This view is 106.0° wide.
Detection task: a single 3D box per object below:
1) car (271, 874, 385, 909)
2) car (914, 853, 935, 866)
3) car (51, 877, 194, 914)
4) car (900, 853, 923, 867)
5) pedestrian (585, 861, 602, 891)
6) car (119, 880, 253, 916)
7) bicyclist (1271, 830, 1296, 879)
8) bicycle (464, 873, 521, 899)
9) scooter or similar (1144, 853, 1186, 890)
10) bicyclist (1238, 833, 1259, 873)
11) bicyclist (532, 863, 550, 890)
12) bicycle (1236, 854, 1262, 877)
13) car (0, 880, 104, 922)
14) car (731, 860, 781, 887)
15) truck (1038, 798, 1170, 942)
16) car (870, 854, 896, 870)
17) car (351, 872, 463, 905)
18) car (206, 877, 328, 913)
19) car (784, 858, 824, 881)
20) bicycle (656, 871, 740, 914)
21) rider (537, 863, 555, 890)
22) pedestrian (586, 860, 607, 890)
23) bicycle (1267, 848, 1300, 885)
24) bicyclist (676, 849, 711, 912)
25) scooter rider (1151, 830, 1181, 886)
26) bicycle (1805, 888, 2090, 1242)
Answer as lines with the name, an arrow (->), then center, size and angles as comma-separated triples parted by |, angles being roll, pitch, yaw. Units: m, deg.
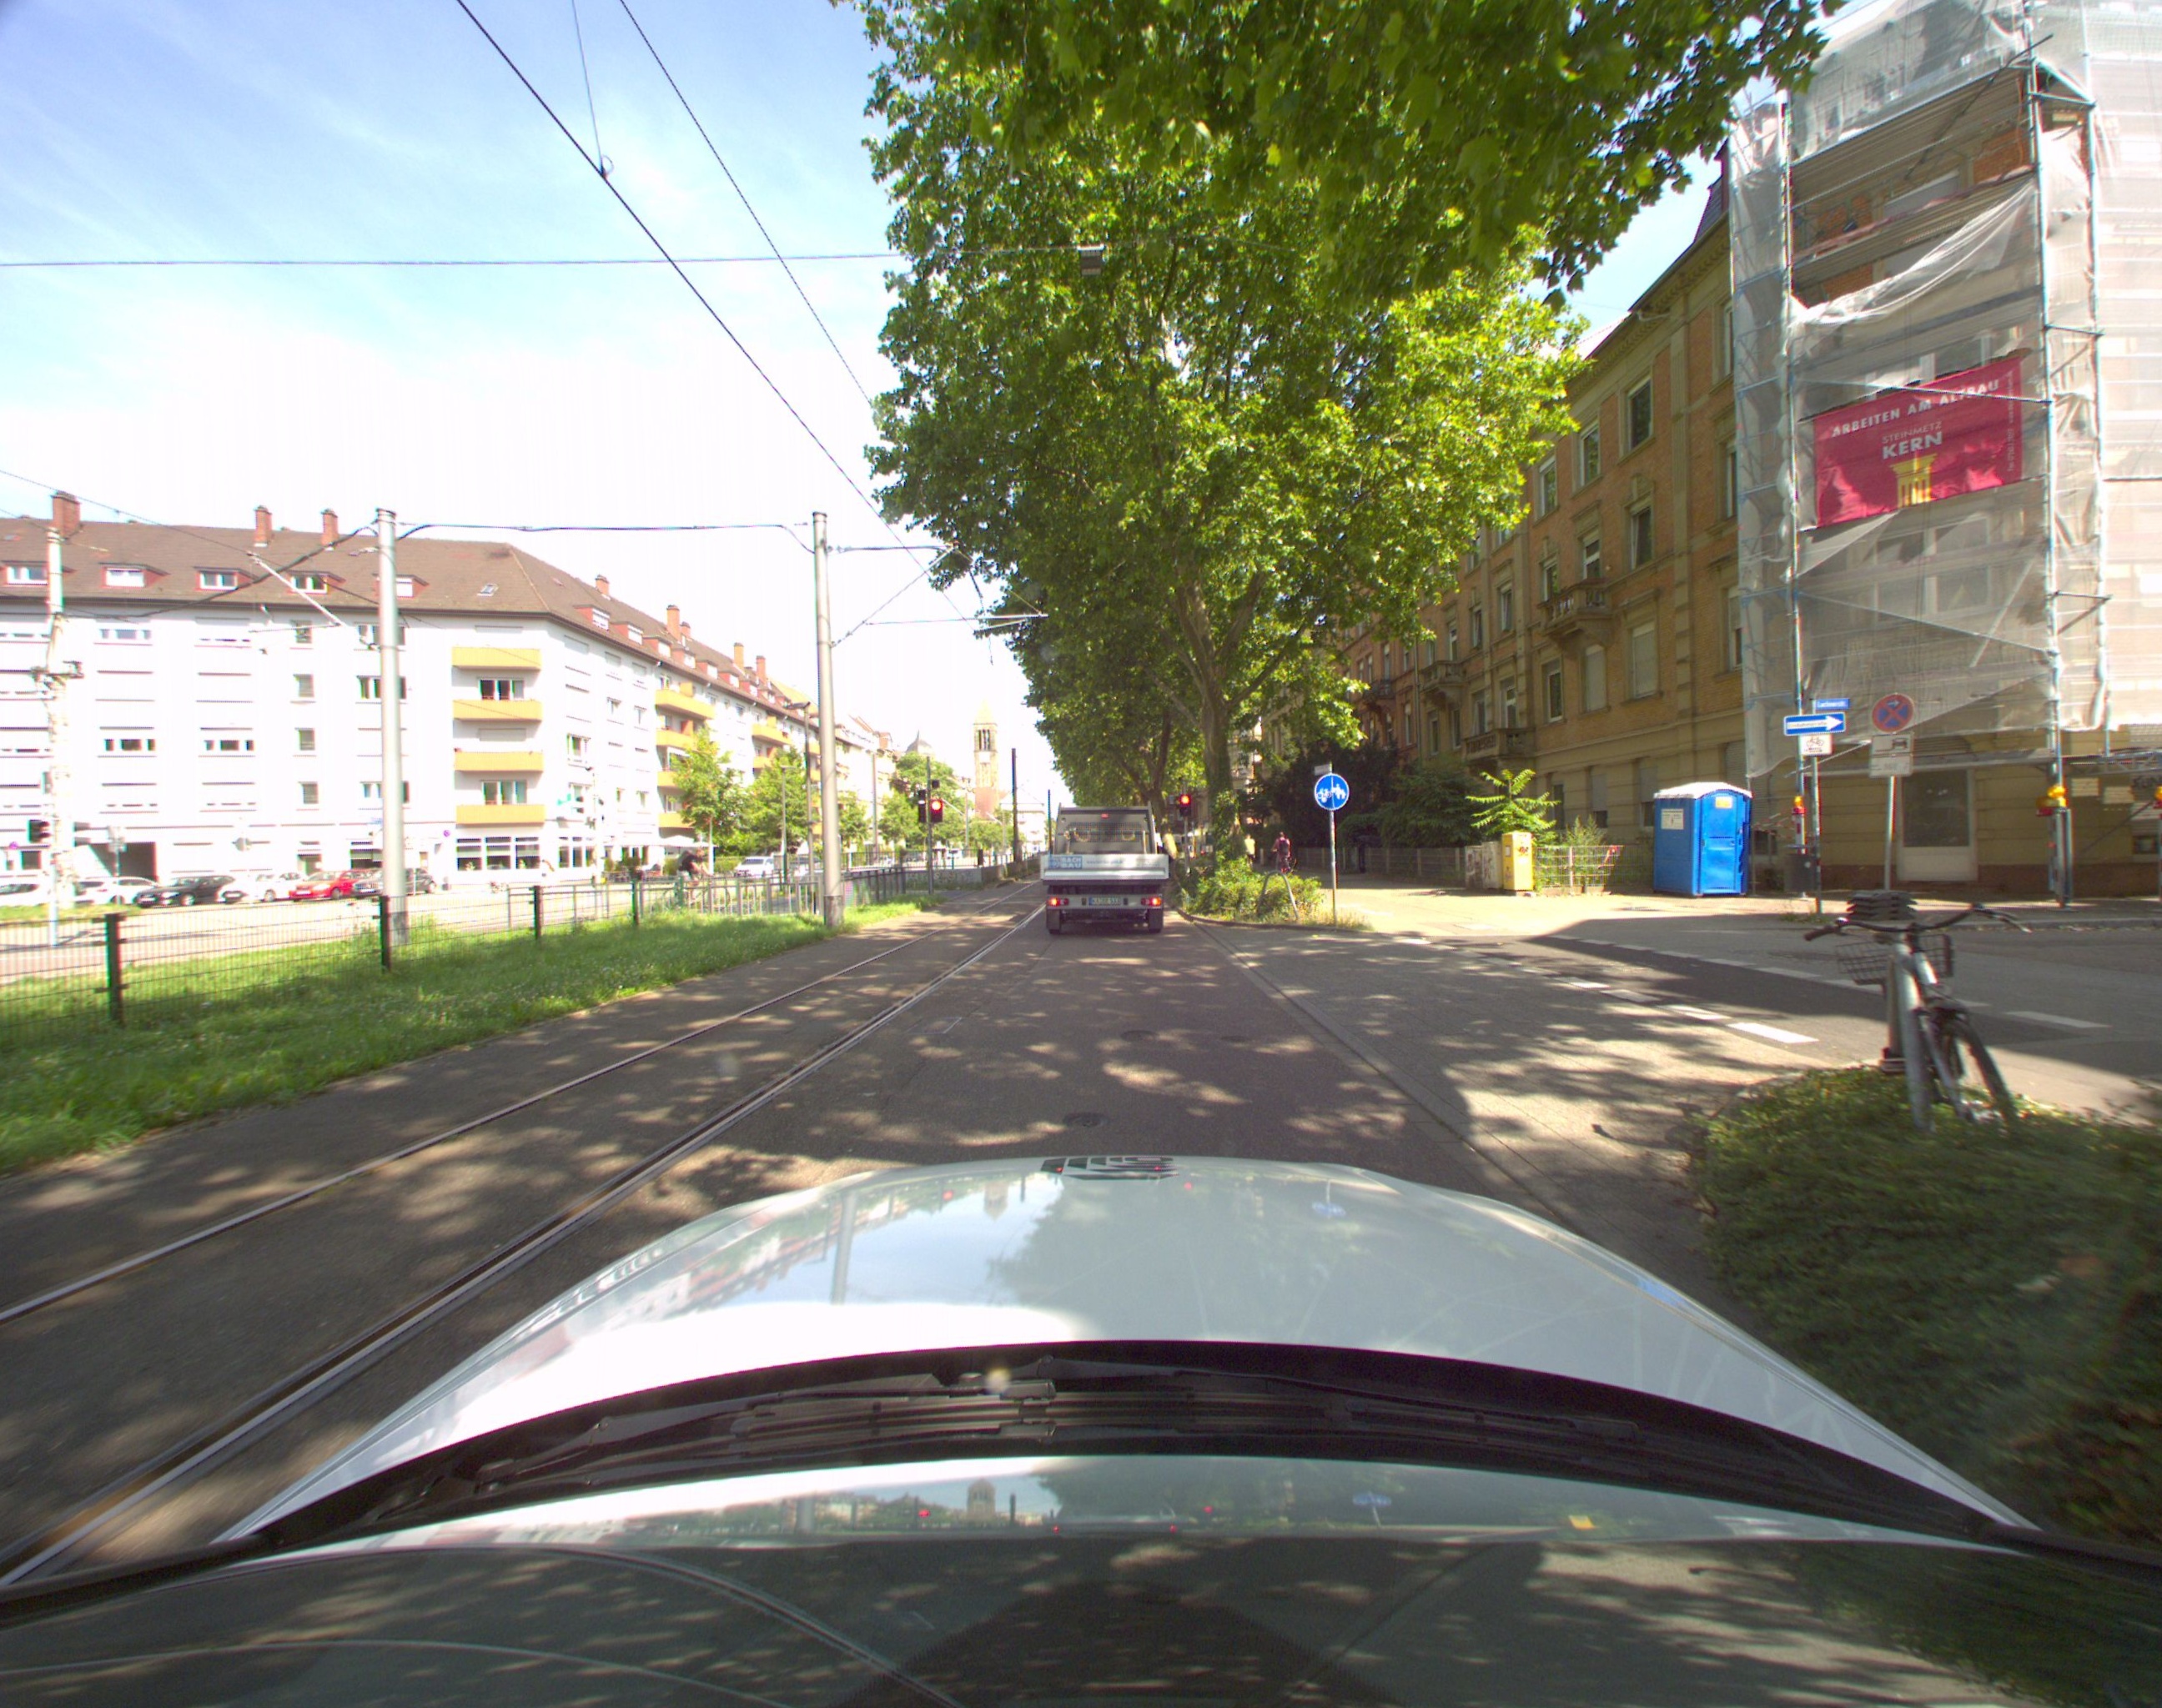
car -> -36.499, 1.771, 39.638 | 1.930, 1.406, 4.157 | -2, 0, -6
car -> -19.839, 0.664, 103.200 | 1.765, 1.498, 4.000 | -2, 0, 0
car -> -44.607, 1.887, 38.053 | 1.930, 1.406, 4.157 | -2, 0, -6
car -> -19.860, 0.717, 95.360 | 1.765, 1.498, 4.000 | -2, 0, 0
pedestrian -> -26.449, 1.172, 44.214 | 0.691, 1.572, 0.542 | -2, 0, -23
car -> -41.829, 2.014, 38.226 | 1.930, 1.406, 4.157 | -2, 0, -6
bicyclist -> 6.595, 0.019, 26.496 | 0.635, 1.573, 0.580 | -2, 0, 2
bicycle -> -30.092, 1.618, 41.724 | 0.908, 1.137, 2.806 | -2, 0, -2
scooter or similar -> 2.829, 0.582, 27.399 | 1.275, 1.204, 0.651 | -2, 0, -32
bicyclist -> 6.743, -0.056, 32.802 | 0.678, 1.563, 0.777 | -2, 0, 2
bicyclist -> -29.010, 1.194, 43.734 | 0.624, 1.423, 0.587 | -2, 0, -16
bicycle -> 6.761, 0.448, 32.892 | 0.672, 0.881, 2.165 | -2, 0, 3
car -> -40.801, 1.829, 31.269 | 3.748, 1.406, 1.824 | -2, 0, -16
car -> -20.601, 1.205, 51.768 | 1.767, 1.498, 3.994 | -3, 0, -4
truck -> 0.465, 0.241, 15.369 | 2.130, 2.319, 4.404 | 0, 0, 2
car -> -19.905, 0.805, 81.991 | 1.767, 1.498, 3.994 | -2, 0, -4
car -> -33.145, 1.656, 40.236 | 1.830, 1.376, 4.636 | -2, 0, -4
car -> -39.283, 1.945, 39.449 | 1.930, 1.406, 4.157 | -2, 0, -6
car -> -20.450, 1.146, 60.350 | 1.767, 1.498, 3.994 | -3, 0, -4
bicycle -> -10.172, 1.013, 21.709 | 1.923, 1.049, 0.530 | -2, 0, -16
rider -> -29.145, 1.230, 44.376 | 0.624, 1.423, 0.587 | -2, 0, -16
pedestrian -> -26.656, 1.136, 44.816 | 0.861, 1.572, 0.685 | -2, 0, -23
bicycle -> 6.591, 0.388, 26.616 | 0.563, 1.112, 2.312 | -2, 0, 3
bicyclist -> -10.311, 0.694, 21.672 | 0.694, 1.623, 0.621 | -2, 0, -16
scooter rider -> 2.862, 0.135, 27.421 | 0.671, 1.867, 0.657 | -2, 0, -32
bicycle -> 3.648, 0.749, 3.561 | 0.417, 1.105, 1.627 | -2, 0, 31
